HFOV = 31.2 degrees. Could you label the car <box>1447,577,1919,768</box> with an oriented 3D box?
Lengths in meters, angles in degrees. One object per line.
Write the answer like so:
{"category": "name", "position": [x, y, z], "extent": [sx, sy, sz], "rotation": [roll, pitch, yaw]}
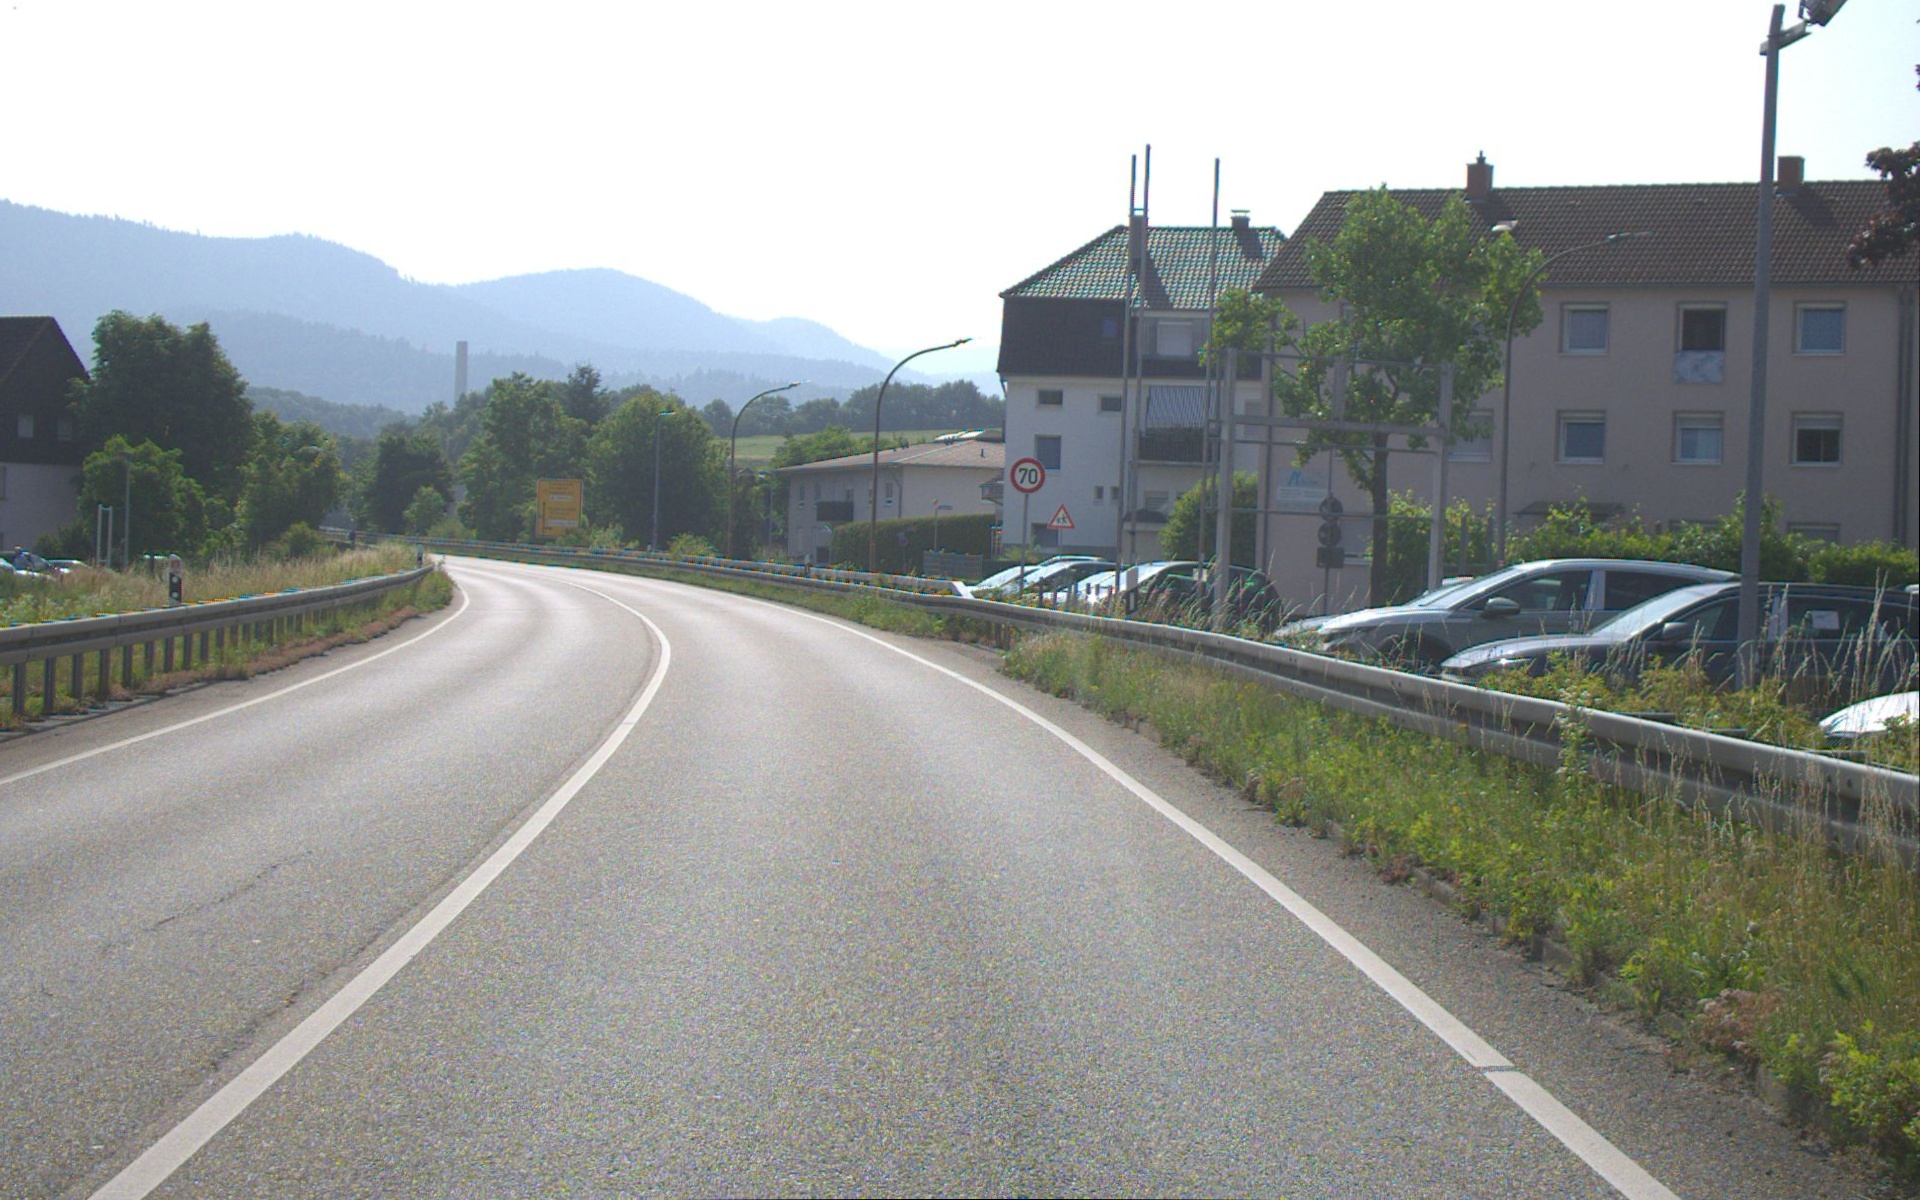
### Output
{"category": "car", "position": [6.184, 0.558, 27.374], "extent": [4.319, 1.439, 1.628], "rotation": [1, 0, -3]}

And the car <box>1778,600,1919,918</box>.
{"category": "car", "position": [6.361, 0.786, 17.447], "extent": [3.987, 1.516, 1.698], "rotation": [1, 0, -1]}

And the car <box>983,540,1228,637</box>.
{"category": "car", "position": [2.612, -0.207, 62.101], "extent": [3.985, 1.444, 1.765], "rotation": [4, -1, -15]}

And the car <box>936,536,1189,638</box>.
{"category": "car", "position": [1.916, -0.238, 64.531], "extent": [4.232, 1.567, 1.919], "rotation": [5, -1, -18]}

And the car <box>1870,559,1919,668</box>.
{"category": "car", "position": [13.658, 0.218, 44.392], "extent": [1.703, 1.400, 3.663], "rotation": [0, 2, -25]}

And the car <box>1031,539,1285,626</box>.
{"category": "car", "position": [3.446, -0.301, 59.856], "extent": [4.056, 1.447, 1.729], "rotation": [0, 0, -21]}

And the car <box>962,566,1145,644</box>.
{"category": "car", "position": [1.856, 0.102, 68.443], "extent": [3.262, 1.372, 1.550], "rotation": [3, -1, -17]}

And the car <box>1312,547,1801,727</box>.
{"category": "car", "position": [5.682, 0.334, 33.178], "extent": [4.319, 1.634, 2.140], "rotation": [1, 0, -1]}
